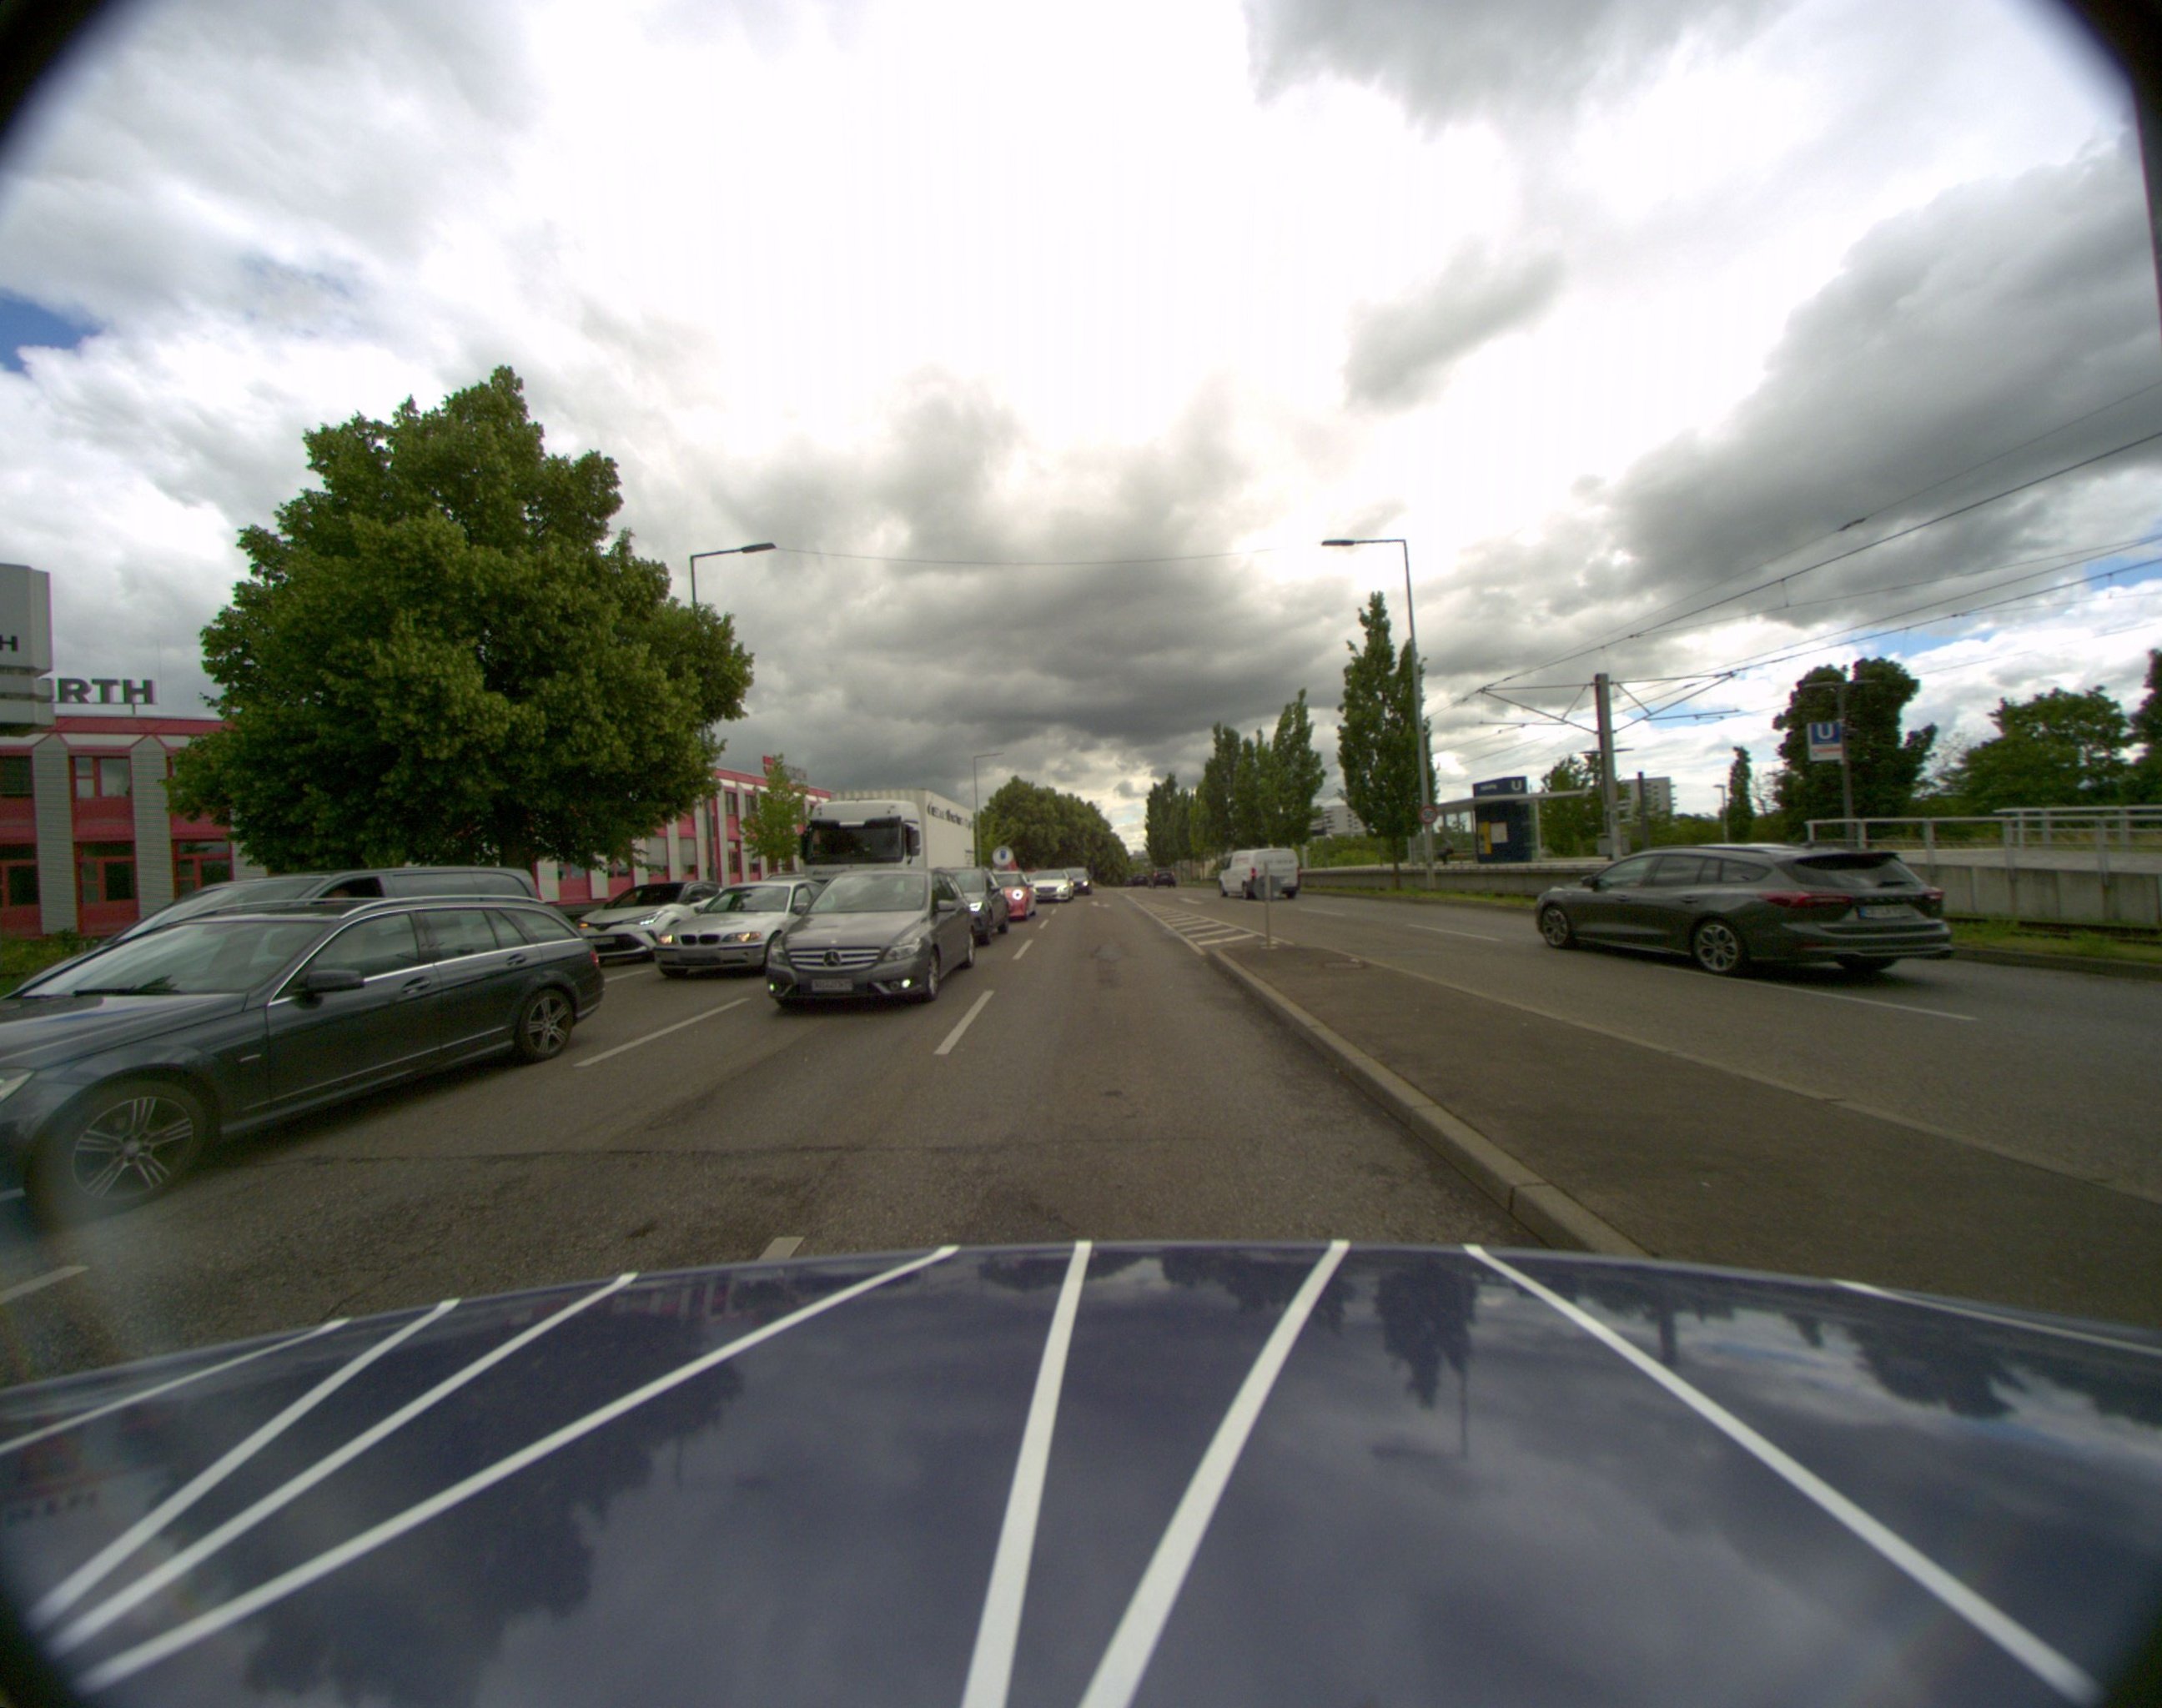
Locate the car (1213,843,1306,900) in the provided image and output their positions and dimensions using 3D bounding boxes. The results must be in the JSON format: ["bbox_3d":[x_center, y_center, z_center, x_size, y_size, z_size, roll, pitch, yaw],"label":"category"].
[{"bbox_3d":[6.883,0.603,29.923,1.921,1.953,5.370,-2,1,-5],"label":"car"}]

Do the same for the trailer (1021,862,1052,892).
[{"bbox_3d":[-3.004,1.550,52.221,1.775,1.650,3.995,-2,3,1],"label":"trailer"}]

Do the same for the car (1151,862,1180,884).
[{"bbox_3d":[6.137,1.376,55.683,1.700,1.440,3.660,-2,0,0],"label":"car"}]

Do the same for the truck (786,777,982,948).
[{"bbox_3d":[-5.266,0.220,22.806,2.809,3.880,10.182,-2,0,2],"label":"truck"}]

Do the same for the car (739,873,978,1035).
[{"bbox_3d":[-2.510,1.057,9.648,1.750,1.499,4.048,-2,-1,1],"label":"car"}]

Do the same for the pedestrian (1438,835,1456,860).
[{"bbox_3d":[17.716,-0.313,36.776,0.601,1.148,0.447,-2,1,1],"label":"pedestrian"}]

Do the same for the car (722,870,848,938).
[{"bbox_3d":[-8.455,1.367,22.159,1.865,1.648,4.209,-4,-1,1],"label":"car"}]

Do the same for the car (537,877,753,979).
[{"bbox_3d":[-8.603,1.377,15.485,1.844,1.507,4.106,-6,0,1],"label":"car"}]

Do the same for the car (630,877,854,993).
[{"bbox_3d":[-5.399,1.205,12.822,1.750,1.375,4.290,-2,1,1],"label":"car"}]

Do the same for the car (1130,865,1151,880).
[{"bbox_3d":[6.045,1.893,77.719,1.700,1.440,3.934,-2,-1,-2],"label":"car"}]

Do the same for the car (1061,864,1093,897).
[{"bbox_3d":[-0.213,1.441,42.584,1.669,1.589,3.996,-2,1,0],"label":"car"}]

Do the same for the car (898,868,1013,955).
[{"bbox_3d":[-2.445,1.081,15.661,1.628,1.484,3.838,-2,-1,1],"label":"car"}]

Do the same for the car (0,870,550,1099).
[{"bbox_3d":[-8.825,1.186,8.873,1.763,1.765,4.675,-2,1,2],"label":"car"}]

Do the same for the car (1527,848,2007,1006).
[{"bbox_3d":[7.848,0.678,9.454,1.875,1.416,4.431,-2,1,-2],"label":"car"}]

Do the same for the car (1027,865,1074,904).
[{"bbox_3d":[-1.259,1.299,33.442,1.804,1.403,4.317,-2,1,1],"label":"car"}]

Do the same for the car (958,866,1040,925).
[{"bbox_3d":[-2.284,1.148,21.985,1.825,1.497,3.495,-2,-1,2],"label":"car"}]

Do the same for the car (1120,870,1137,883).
[{"bbox_3d":[6.237,2.929,99.800,1.813,1.440,3.934,-2,0,-1],"label":"car"}]

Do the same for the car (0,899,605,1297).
[{"bbox_3d":[-5.434,1.178,5.017,1.750,1.476,4.356,-2,0,1],"label":"car"}]

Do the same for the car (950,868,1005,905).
[{"bbox_3d":[-4.741,1.444,35.288,1.851,1.521,4.377,-2,-1,0],"label":"car"}]
